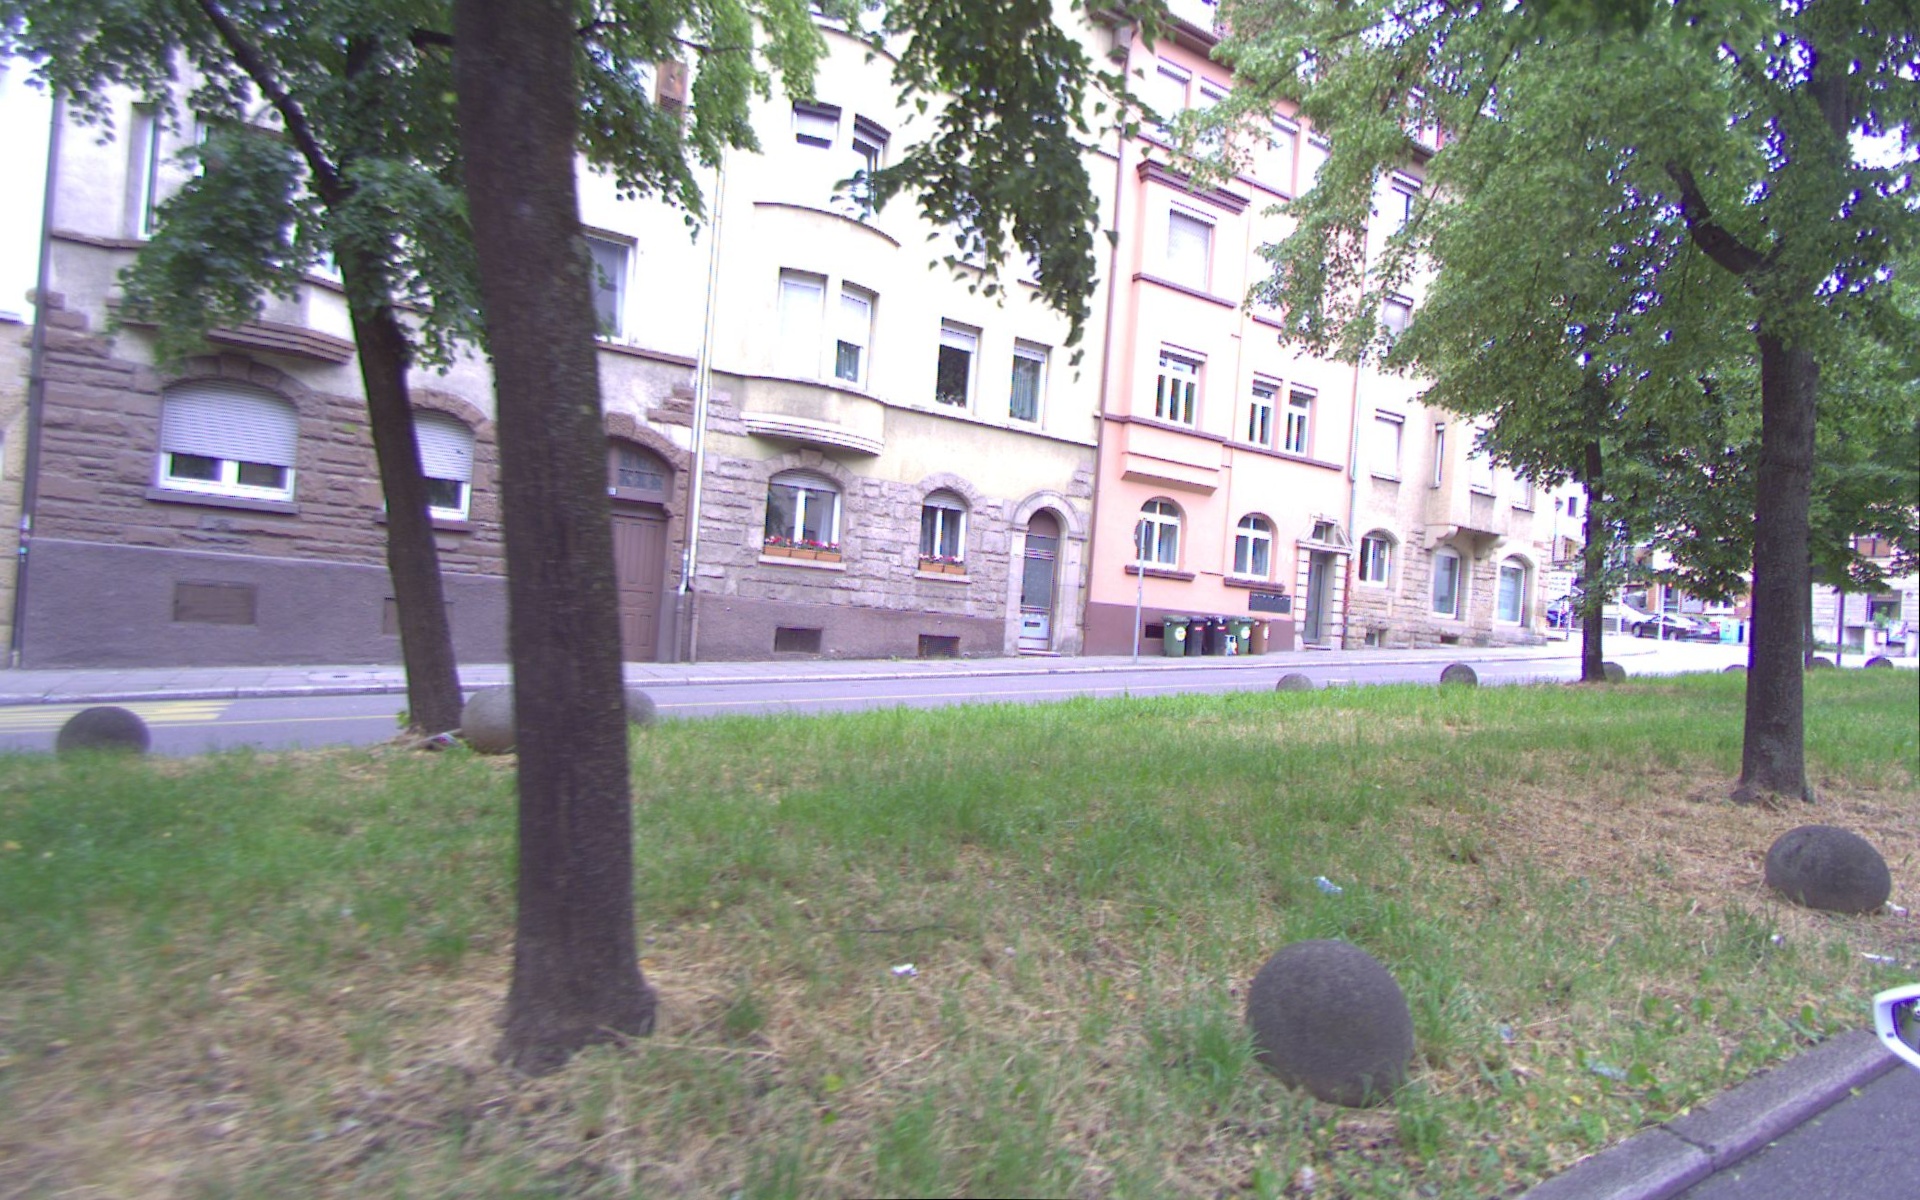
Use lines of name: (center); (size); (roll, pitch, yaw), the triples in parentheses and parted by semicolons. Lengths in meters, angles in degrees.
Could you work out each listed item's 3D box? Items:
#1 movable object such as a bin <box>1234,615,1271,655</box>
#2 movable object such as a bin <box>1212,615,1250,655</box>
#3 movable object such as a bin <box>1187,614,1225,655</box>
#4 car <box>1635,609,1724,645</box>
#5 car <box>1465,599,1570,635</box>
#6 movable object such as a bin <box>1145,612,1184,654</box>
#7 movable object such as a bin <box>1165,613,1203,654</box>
movable object such as a bin: (7.152, 0.850, 24.597); (0.595, 0.916, 0.605); (1, 2, -34)
movable object such as a bin: (6.532, 0.831, 24.184); (0.595, 0.916, 0.605); (1, 2, -34)
movable object such as a bin: (5.816, 0.804, 23.768); (0.595, 0.916, 0.605); (1, 2, -34)
car: (37.399, 1.393, 52.350); (1.845, 1.687, 4.001); (3, -1, 3)
car: (27.159, 0.791, 49.041); (4.158, 1.530, 1.790); (3, 1, 42)
movable object such as a bin: (4.700, 0.761, 23.088); (0.595, 0.916, 0.605); (1, 2, -34)
movable object such as a bin: (5.223, 0.779, 23.435); (0.595, 0.916, 0.605); (1, 2, -34)
